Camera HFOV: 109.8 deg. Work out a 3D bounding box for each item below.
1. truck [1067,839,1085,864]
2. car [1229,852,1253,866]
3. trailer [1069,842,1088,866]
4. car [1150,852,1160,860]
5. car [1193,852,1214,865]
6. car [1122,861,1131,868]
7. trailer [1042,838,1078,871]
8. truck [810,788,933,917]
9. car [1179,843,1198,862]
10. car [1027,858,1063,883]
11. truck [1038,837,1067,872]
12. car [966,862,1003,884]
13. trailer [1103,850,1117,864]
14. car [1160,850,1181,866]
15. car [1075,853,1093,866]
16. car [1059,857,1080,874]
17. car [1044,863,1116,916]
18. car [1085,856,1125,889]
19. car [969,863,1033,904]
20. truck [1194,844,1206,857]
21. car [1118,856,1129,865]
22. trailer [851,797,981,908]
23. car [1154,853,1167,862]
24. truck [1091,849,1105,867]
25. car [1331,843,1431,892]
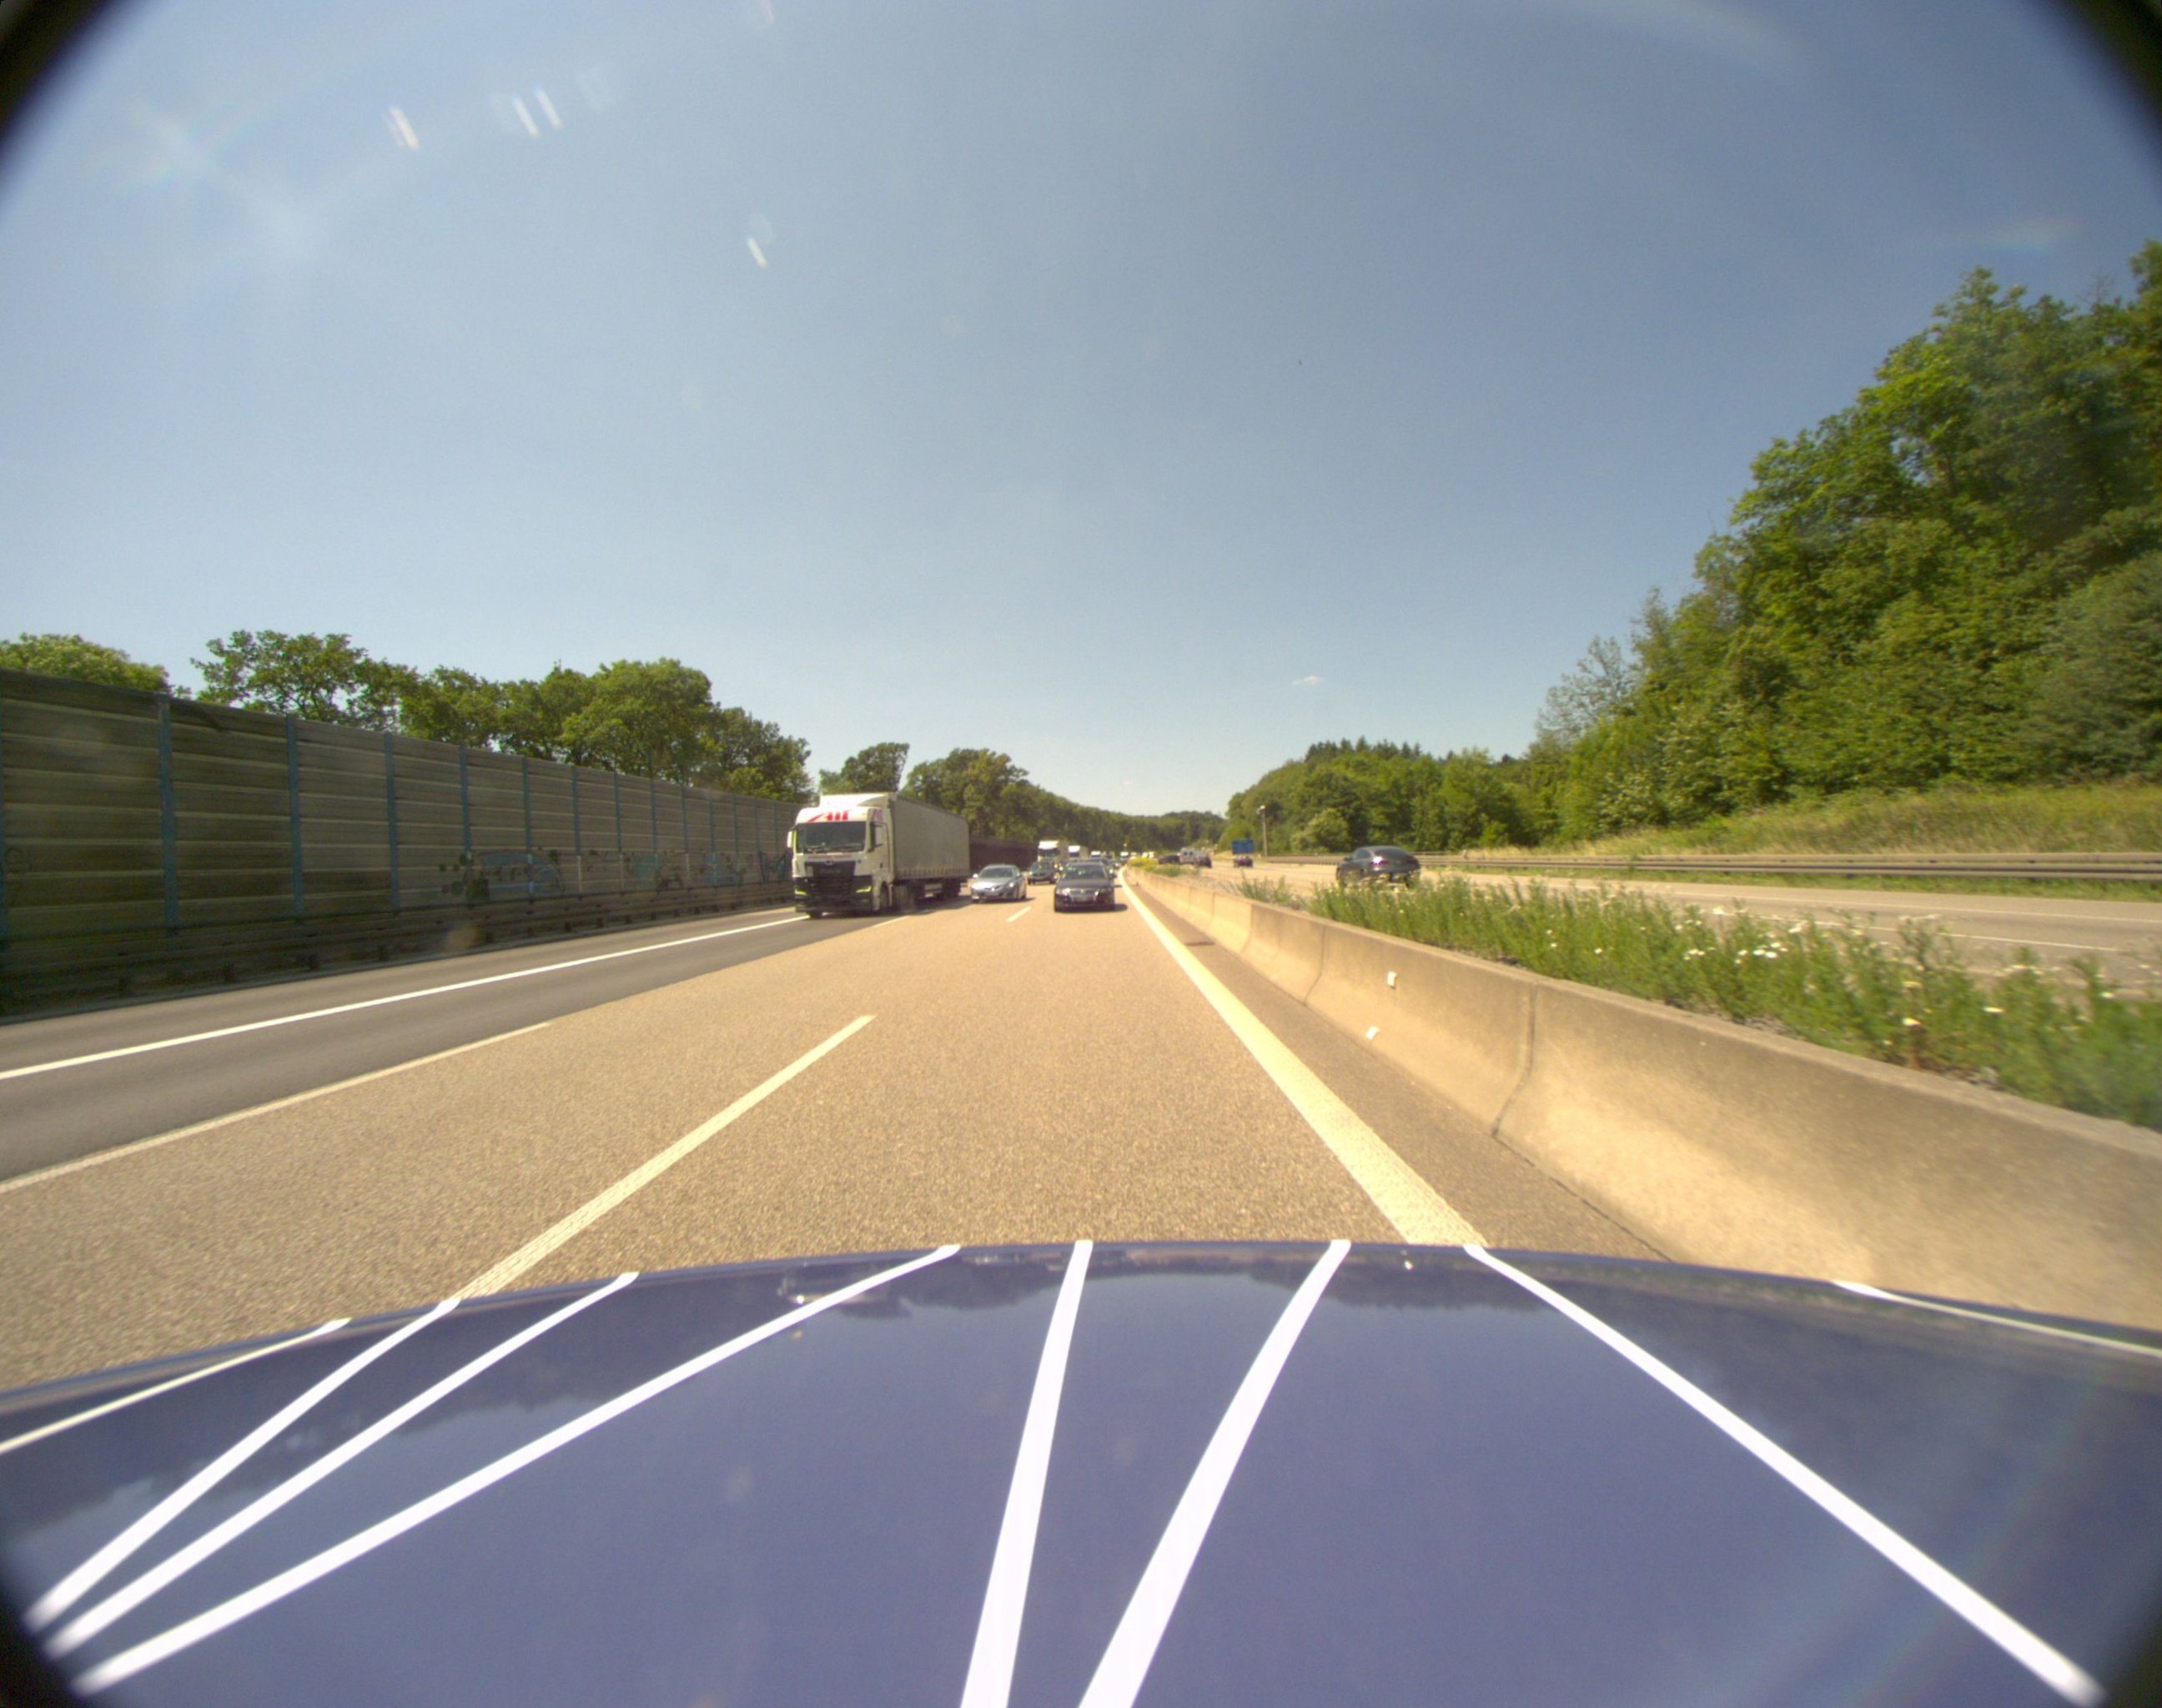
[{"bbox_3d":[-0.833,-0.442,135.359,2.545,4.149,4.747,-2,0,4],"label":"truck"},{"bbox_3d":[17.270,0.539,82.080,1.844,1.444,4.001,-2,0,2],"label":"car"},{"bbox_3d":[-0.468,0.000,139.859,2.541,4.149,10.180,-2,0,4],"label":"trailer"},{"bbox_3d":[15.060,0.425,155.119,1.808,1.518,4.257,-2,0,3],"label":"car"},{"bbox_3d":[13.861,0.553,86.204,1.817,1.393,4.272,-2,0,2],"label":"car"},{"bbox_3d":[10.751,2.457,180.036,1.998,1.641,4.002,-2,0,6],"label":"car"},{"bbox_3d":[-2.784,0.076,104.811,2.820,4.190,13.472,-2,0,7],"label":"trailer"},{"bbox_3d":[-7.284,-0.057,27.221,2.604,4.066,5.553,-2,0,1],"label":"truck"},{"bbox_3d":[16.165,-0.255,114.724,2.221,2.685,6.063,-2,0,2],"label":"car"},{"bbox_3d":[-2.362,1.111,51.260,1.907,1.550,4.001,-2,0,4],"label":"car"},{"bbox_3d":[-3.628,0.070,98.105,2.811,4.190,5.424,-2,0,7],"label":"truck"},{"bbox_3d":[-7.233,1.384,57.278,1.860,1.484,4.178,-2,0,5],"label":"car"},{"bbox_3d":[8.721,0.844,224.461,3.153,4.061,6.187,-2,0,10],"label":"trailer"},{"bbox_3d":[10.280,0.447,87.215,1.998,1.713,4.357,-2,0,2],"label":"car"},{"bbox_3d":[0.448,0.744,100.162,1.998,1.641,4.002,-2,0,6],"label":"car"},{"bbox_3d":[-1.221,1.155,79.700,1.998,1.641,4.000,-2,0,1],"label":"car"},{"bbox_3d":[0.069,1.018,23.428,1.907,1.410,4.001,-2,0,4],"label":"car"},{"bbox_3d":[1.364,0.970,41.752,1.998,1.641,4.001,-2,0,3],"label":"car"},{"bbox_3d":[-3.125,1.145,30.449,1.860,1.426,4.178,-2,0,3],"label":"car"},{"bbox_3d":[33.137,-1.074,211.480,2.741,3.454,7.317,-2,0,6],"label":"truck"},{"bbox_3d":[8.488,1.244,150.833,1.998,1.641,4.002,-2,0,6],"label":"car"},{"bbox_3d":[-7.071,-0.092,35.290,2.604,4.066,13.592,-2,0,2],"label":"trailer"},{"bbox_3d":[13.326,0.638,127.632,1.879,1.402,4.412,-2,0,2],"label":"car"},{"bbox_3d":[4.245,1.011,189.929,2.852,4.381,5.242,-2,0,7],"label":"truck"},{"bbox_3d":[11.162,0.477,28.638,1.998,1.618,4.474,-2,0,1],"label":"car"}]
